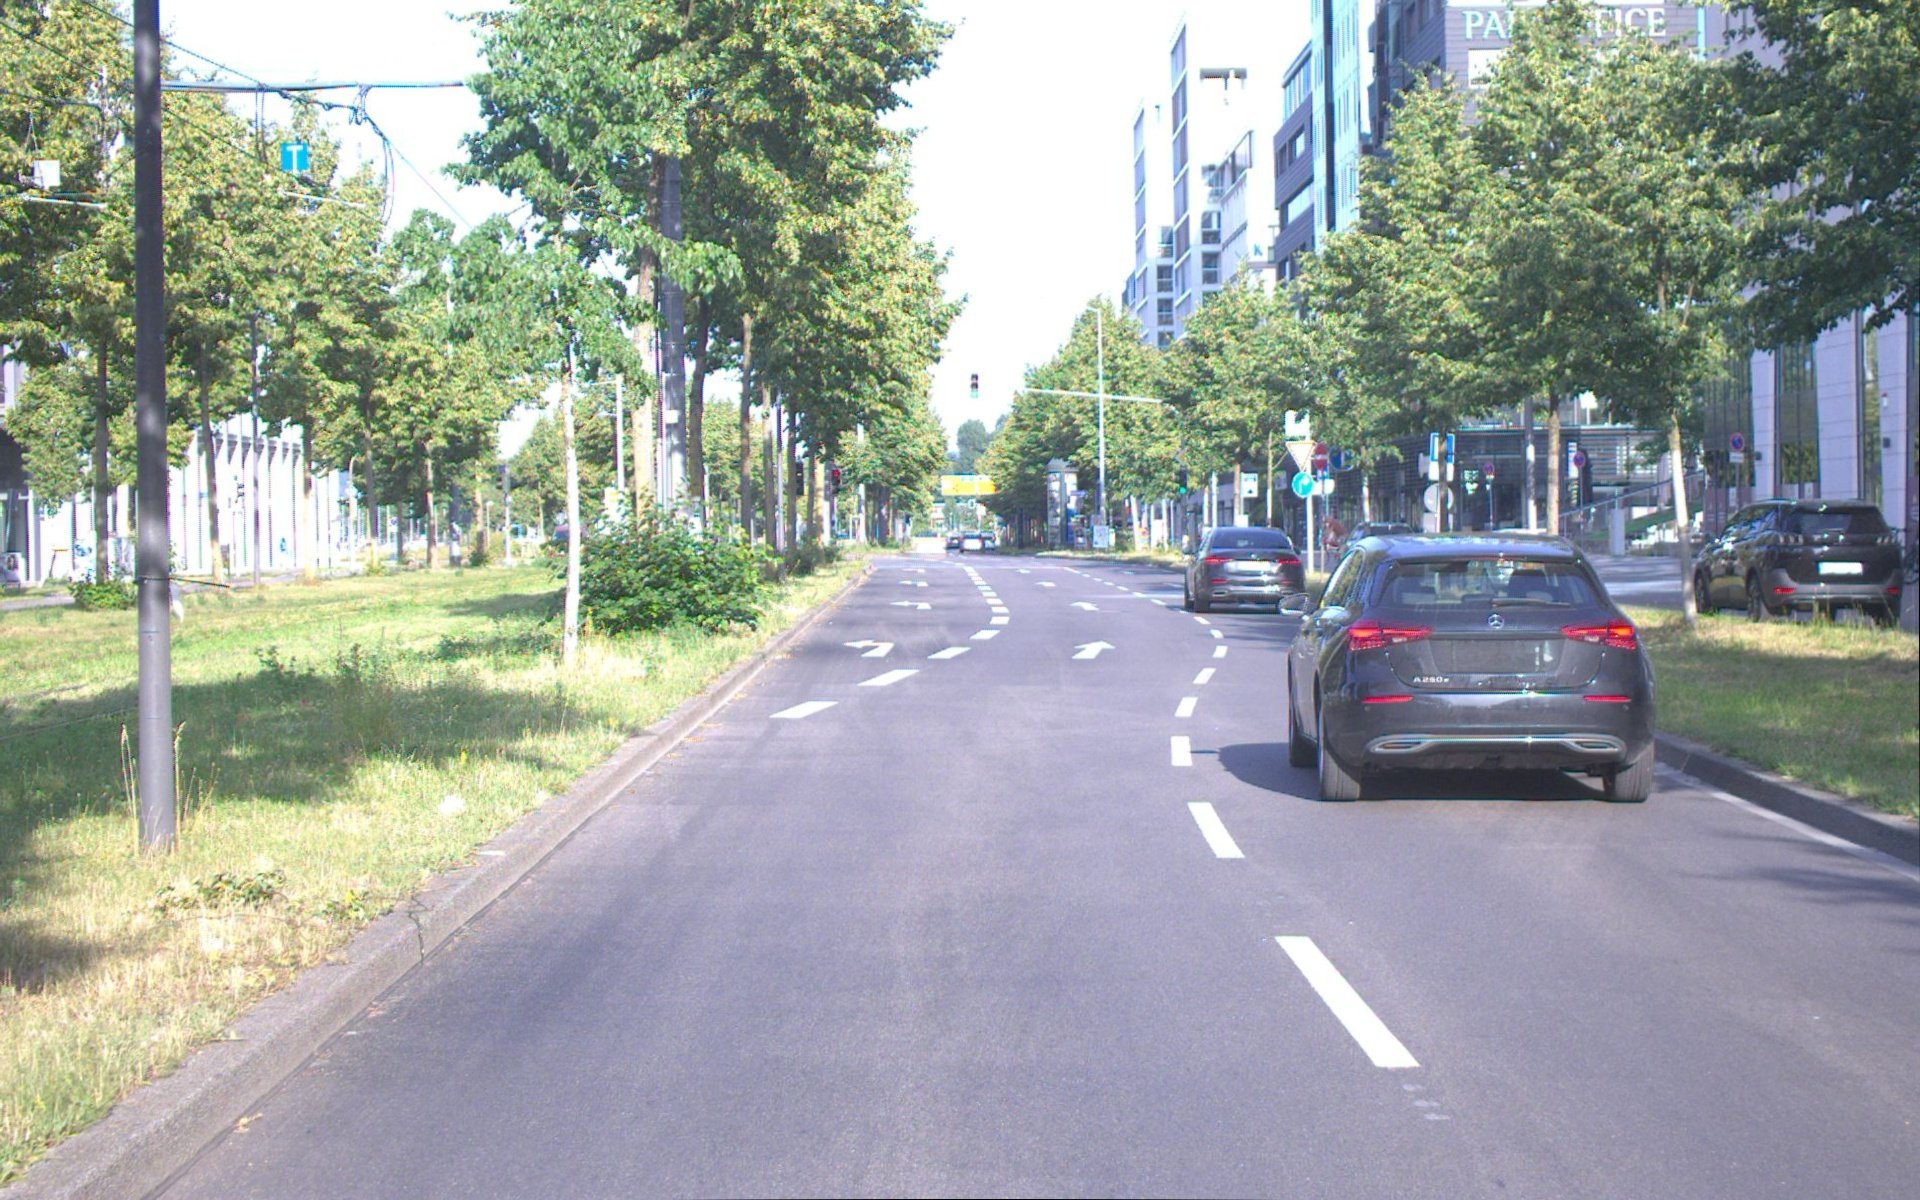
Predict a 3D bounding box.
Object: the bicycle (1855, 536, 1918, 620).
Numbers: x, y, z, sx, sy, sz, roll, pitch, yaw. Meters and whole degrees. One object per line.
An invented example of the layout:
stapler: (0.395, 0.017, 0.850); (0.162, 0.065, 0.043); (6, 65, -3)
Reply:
bicycle: (17.810, -0.422, 66.134); (0.555, 1.565, 2.276); (1, 0, 0)

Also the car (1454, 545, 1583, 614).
car: (10.598, -0.400, 65.414); (1.708, 1.238, 3.906); (1, 1, -1)

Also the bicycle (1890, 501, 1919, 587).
bicycle: (17.779, -1.027, 63.505); (0.555, 1.562, 2.213); (1, 0, 0)

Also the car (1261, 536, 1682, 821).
car: (2.784, 0.378, 19.536); (1.774, 1.419, 3.961); (1, 1, 0)

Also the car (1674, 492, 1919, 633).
car: (10.826, -0.539, 44.745); (1.897, 1.702, 4.678); (1, 2, -2)

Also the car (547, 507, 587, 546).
car: (-18.404, -3.435, 161.118); (1.684, 1.769, 3.883); (1, 1, -4)

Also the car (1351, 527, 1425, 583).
car: (10.780, -1.132, 86.752); (1.607, 1.366, 4.157); (1, 1, 4)

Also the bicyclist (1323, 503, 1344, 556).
bicyclist: (12.301, -2.317, 113.194); (0.574, 1.701, 0.541); (1, 1, -4)

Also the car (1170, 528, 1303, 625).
car: (4.578, -0.403, 57.327); (1.859, 1.519, 3.786); (1, 1, 0)

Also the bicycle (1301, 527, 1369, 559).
bicycle: (12.338, -1.882, 113.197); (2.134, 1.009, 0.571); (1, 1, -4)
